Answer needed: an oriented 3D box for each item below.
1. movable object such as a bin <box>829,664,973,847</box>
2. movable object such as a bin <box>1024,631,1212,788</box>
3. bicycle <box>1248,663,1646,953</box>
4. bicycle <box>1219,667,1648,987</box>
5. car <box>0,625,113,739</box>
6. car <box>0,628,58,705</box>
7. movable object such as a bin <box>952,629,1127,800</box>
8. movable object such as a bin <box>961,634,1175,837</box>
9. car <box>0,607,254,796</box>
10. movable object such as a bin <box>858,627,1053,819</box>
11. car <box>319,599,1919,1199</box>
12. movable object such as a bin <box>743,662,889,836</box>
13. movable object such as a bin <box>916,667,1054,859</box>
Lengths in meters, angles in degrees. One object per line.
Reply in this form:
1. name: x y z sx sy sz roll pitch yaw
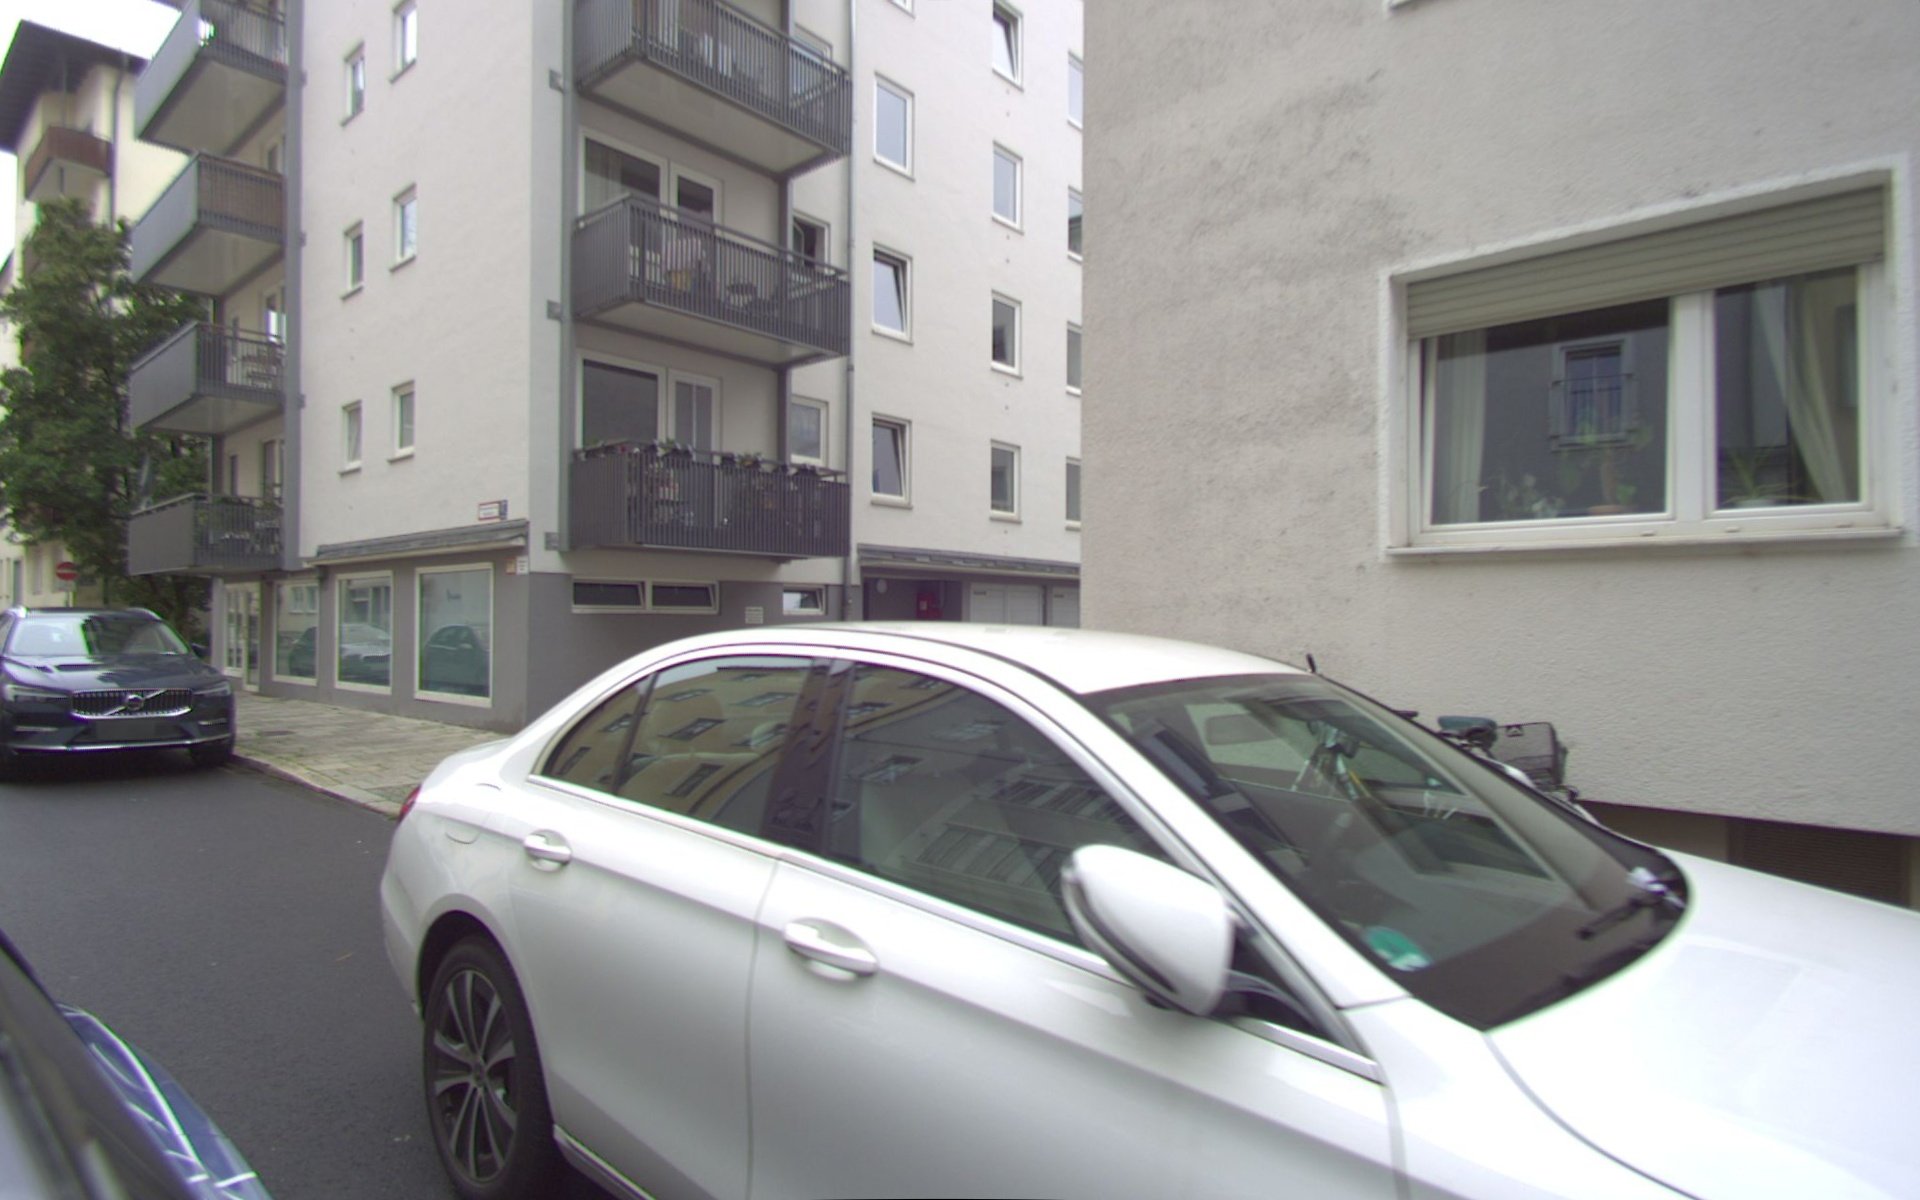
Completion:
1. movable object such as a bin: -0.384 0.992 6.764 0.634 1.084 0.761 -1 -2 36
2. movable object such as a bin: 1.574 1.014 10.052 1.348 1.385 1.321 -1 -2 42
3. bicycle: 2.261 0.903 4.855 1.681 1.147 0.338 -1 -2 37
4. bicycle: 2.036 0.904 4.512 1.681 1.147 0.400 -1 -2 37
5. car: -13.931 1.102 14.722 4.294 1.453 1.794 -1 -2 41
6. car: -19.558 1.269 20.068 4.294 1.410 1.946 -1 -2 41
7. movable object such as a bin: 0.712 0.956 9.078 1.153 1.385 1.078 -1 -2 42
8. movable object such as a bin: 0.777 0.894 7.276 1.097 1.273 1.108 -1 -2 42
9. car: -9.383 0.910 10.822 4.538 1.619 1.946 -1 -2 41
10. movable object such as a bin: -0.031 0.904 8.049 1.103 1.364 1.099 -1 -2 42
11. car: 0.458 0.752 2.262 4.806 1.448 1.892 -1 -2 41
12. movable object such as a bin: -1.000 0.998 7.080 0.677 1.084 0.761 -1 -2 36
13. movable object such as a bin: 0.165 0.993 6.441 0.603 1.084 0.684 -1 -2 36
